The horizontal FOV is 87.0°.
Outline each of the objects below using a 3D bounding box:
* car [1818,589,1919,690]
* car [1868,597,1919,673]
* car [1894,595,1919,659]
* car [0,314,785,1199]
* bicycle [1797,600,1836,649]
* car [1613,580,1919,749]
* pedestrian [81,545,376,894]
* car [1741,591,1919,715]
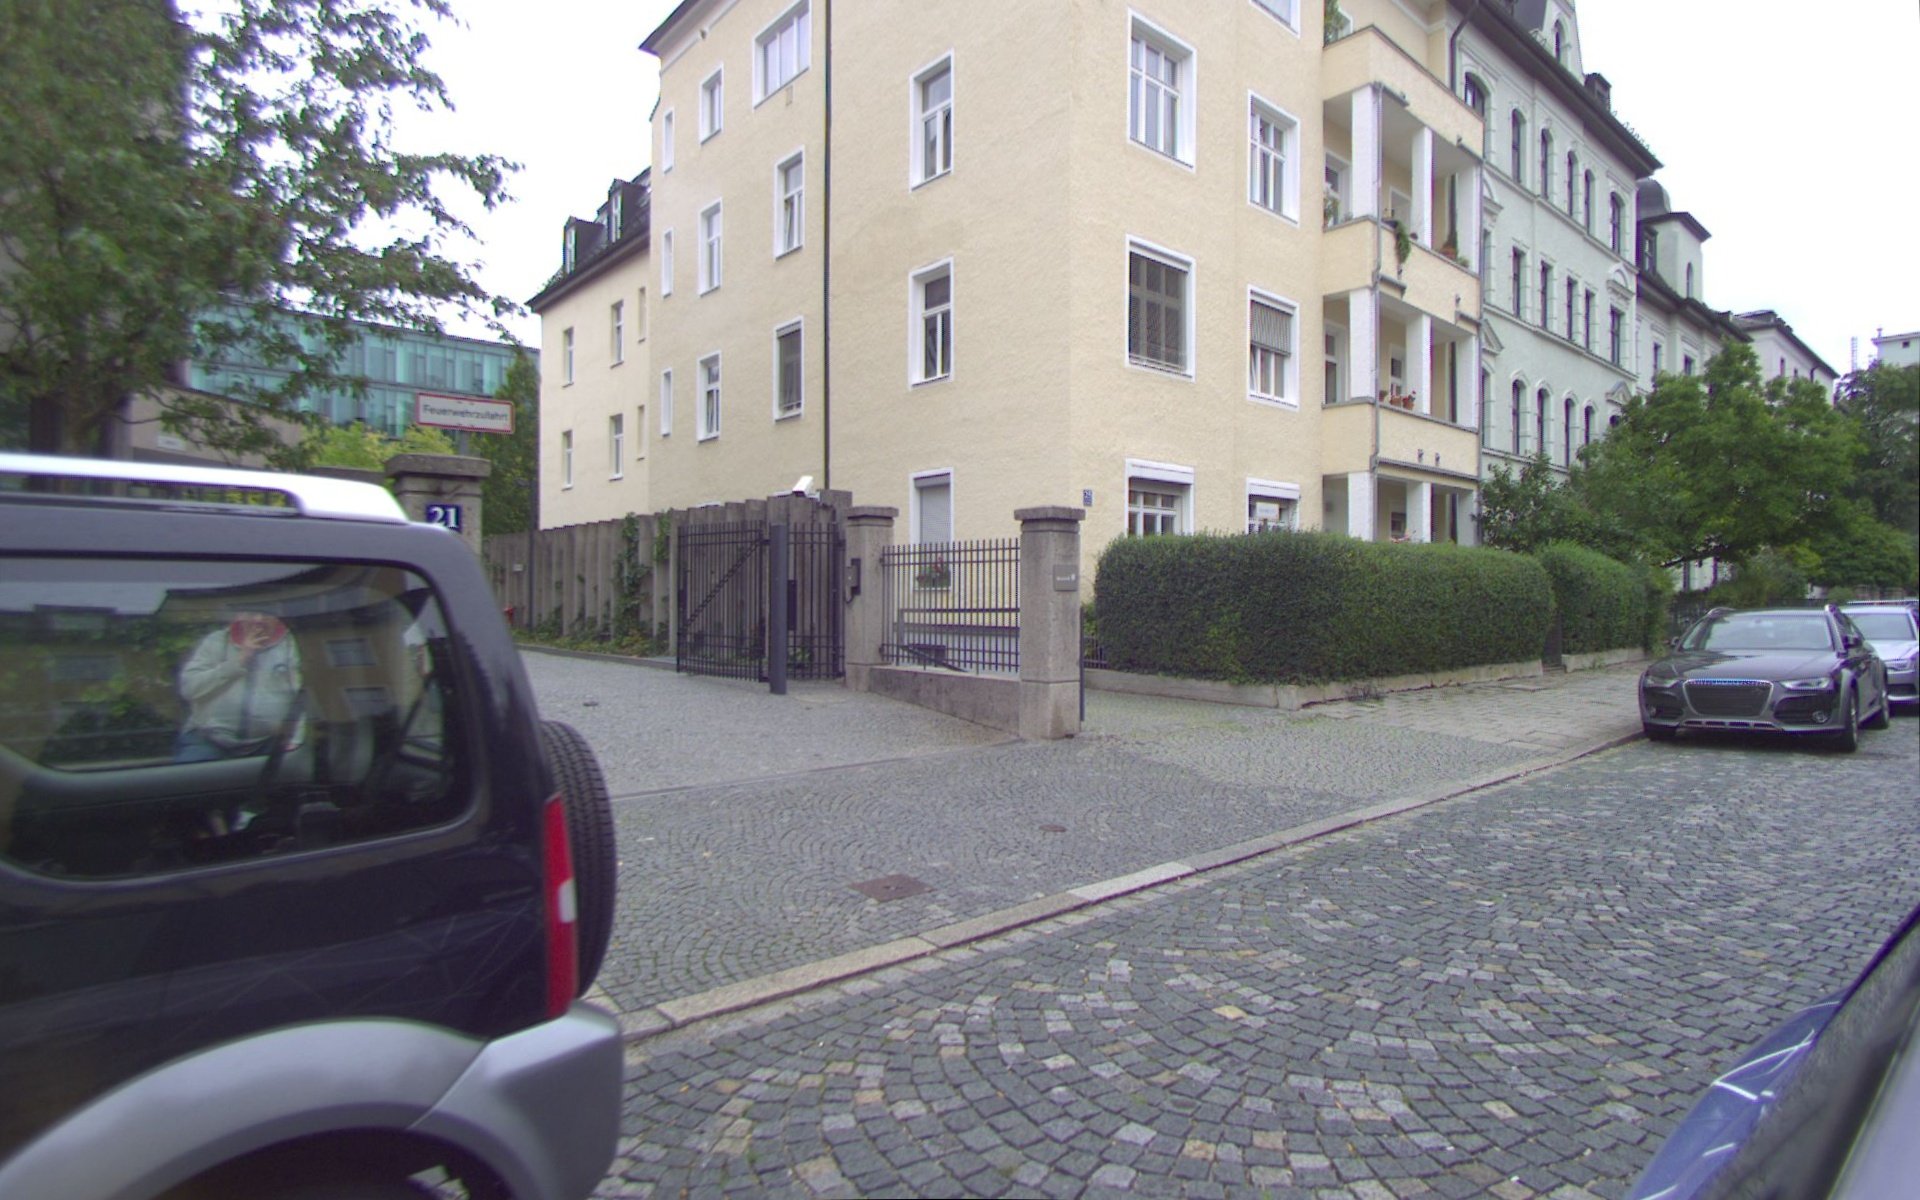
[{"bbox_3d":[17.155,0.650,18.313,4.220,1.675,1.896,0,-1,-42],"label":"car"},{"bbox_3d":[21.066,0.691,21.604,4.961,1.508,1.821,0,-2,-41],"label":"car"},{"bbox_3d":[24.841,0.616,25.105,4.729,1.508,1.885,0,-2,-41],"label":"car"},{"bbox_3d":[-2.289,0.568,1.245,3.821,1.774,1.620,0,-3,-42],"label":"car"},{"bbox_3d":[22.158,0.612,26.192,0.578,1.210,1.628,-1,0,34],"label":"bicycle"},{"bbox_3d":[9.582,0.630,11.809,4.927,1.572,1.996,0,-2,-41],"label":"car"},{"bbox_3d":[-3.757,0.497,5.222,1.109,1.511,1.220,0,2,-39],"label":"pedestrian"},{"bbox_3d":[13.531,0.686,15.084,4.898,1.572,1.997,0,-1,-40],"label":"car"}]
